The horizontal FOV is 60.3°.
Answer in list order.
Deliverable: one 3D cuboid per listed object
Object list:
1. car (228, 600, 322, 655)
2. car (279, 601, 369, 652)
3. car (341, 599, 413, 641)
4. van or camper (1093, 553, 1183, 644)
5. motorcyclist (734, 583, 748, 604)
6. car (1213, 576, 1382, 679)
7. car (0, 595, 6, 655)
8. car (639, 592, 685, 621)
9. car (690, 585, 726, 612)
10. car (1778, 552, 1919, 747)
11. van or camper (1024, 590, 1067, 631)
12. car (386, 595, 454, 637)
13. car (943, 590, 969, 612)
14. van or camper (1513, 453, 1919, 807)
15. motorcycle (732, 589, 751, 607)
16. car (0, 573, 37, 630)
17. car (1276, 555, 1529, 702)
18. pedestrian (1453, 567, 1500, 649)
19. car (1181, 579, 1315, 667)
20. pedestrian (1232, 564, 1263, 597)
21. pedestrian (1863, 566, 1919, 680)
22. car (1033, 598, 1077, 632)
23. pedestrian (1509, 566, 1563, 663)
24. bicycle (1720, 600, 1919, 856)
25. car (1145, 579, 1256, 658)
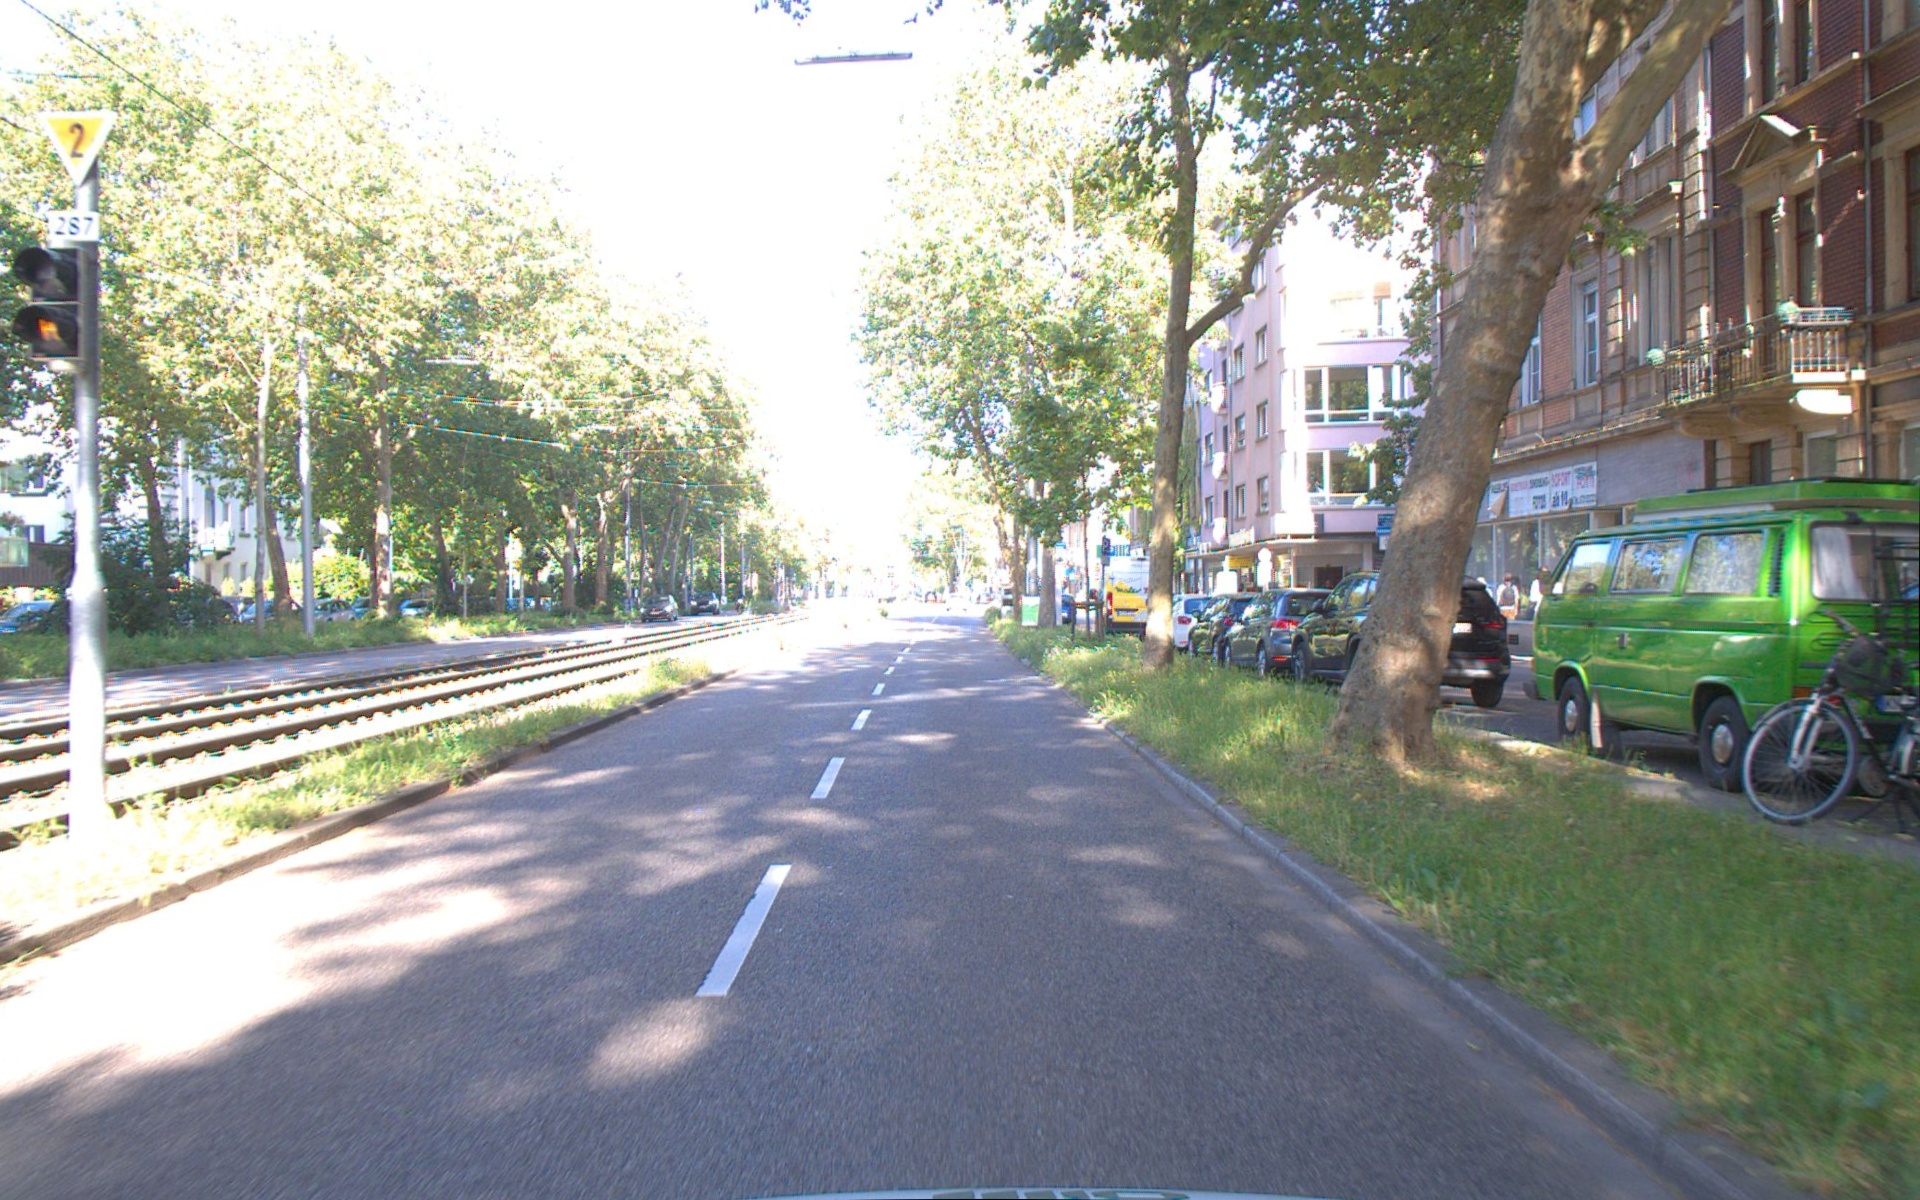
[{"bbox_3d":[-27.176,1.044,65.763,1.952,2.049,4.103,-1,0,1],"label":"car"},{"bbox_3d":[-27.364,1.113,71.333,1.952,2.049,4.685,-1,0,1],"label":"car"},{"bbox_3d":[-27.405,0.900,77.846,1.783,1.868,4.553,-1,0,-1],"label":"car"},{"bbox_3d":[5.316,-0.045,50.187,2.139,2.524,6.269,1,0,1],"label":"van or camper"},{"bbox_3d":[-16.012,-0.478,121.039,0.925,1.540,0.959,-1,0,-1],"label":"motorcyclist"},{"bbox_3d":[5.445,0.409,27.208,1.702,1.489,4.363,2,0,-2],"label":"car"},{"bbox_3d":[-26.853,0.718,42.474,1.988,1.626,5.084,-3,0,-4],"label":"car"},{"bbox_3d":[-17.164,0.376,95.449,1.759,1.534,4.338,-3,0,0],"label":"car"},{"bbox_3d":[-19.077,-0.139,125.380,1.953,1.903,4.872,-2,0,0],"label":"car"},{"bbox_3d":[8.781,0.438,13.792,1.718,1.606,4.183,2,0,-2],"label":"car"},{"bbox_3d":[4.264,0.502,83.164,1.802,1.997,5.125,0,0,-1],"label":"van or camper"},{"bbox_3d":[-27.654,0.777,84.821,1.953,2.049,4.683,-1,0,-1],"label":"car"},{"bbox_3d":[-0.337,0.069,132.060,1.980,1.691,3.999,0,0,-2],"label":"car"},{"bbox_3d":[6.006,0.198,12.512,1.797,2.134,4.772,2,0,-3],"label":"van or camper"},{"bbox_3d":[-16.016,-0.164,121.127,0.944,1.233,3.351,-1,0,-1],"label":"motorcycle"},{"bbox_3d":[-35.738,0.074,60.240,1.953,2.049,4.000,-1,0,0],"label":"car"},{"bbox_3d":[5.714,0.338,22.026,1.853,1.676,4.798,2,0,-2],"label":"car"},{"bbox_3d":[11.472,0.171,36.775,0.677,1.786,1.079,-1,0,0],"label":"pedestrian"},{"bbox_3d":[5.476,0.417,31.955,1.718,1.522,4.183,2,0,-2],"label":"car"},{"bbox_3d":[11.406,-0.770,65.647,1.119,1.278,0.749,-1,0,-1],"label":"pedestrian"},{"bbox_3d":[12.594,0.298,22.122,0.585,1.502,0.767,-1,0,0],"label":"pedestrian"},{"bbox_3d":[4.458,0.700,77.981,1.649,1.540,3.665,0,0,-3],"label":"car"},{"bbox_3d":[10.996,0.279,31.580,0.677,1.819,0.958,-1,0,0],"label":"pedestrian"},{"bbox_3d":[5.669,0.668,9.194,2.501,1.317,0.973,0,0,-8],"label":"bicycle"},{"bbox_3d":[5.302,0.396,36.894,1.718,1.599,4.183,2,0,-2],"label":"car"}]
